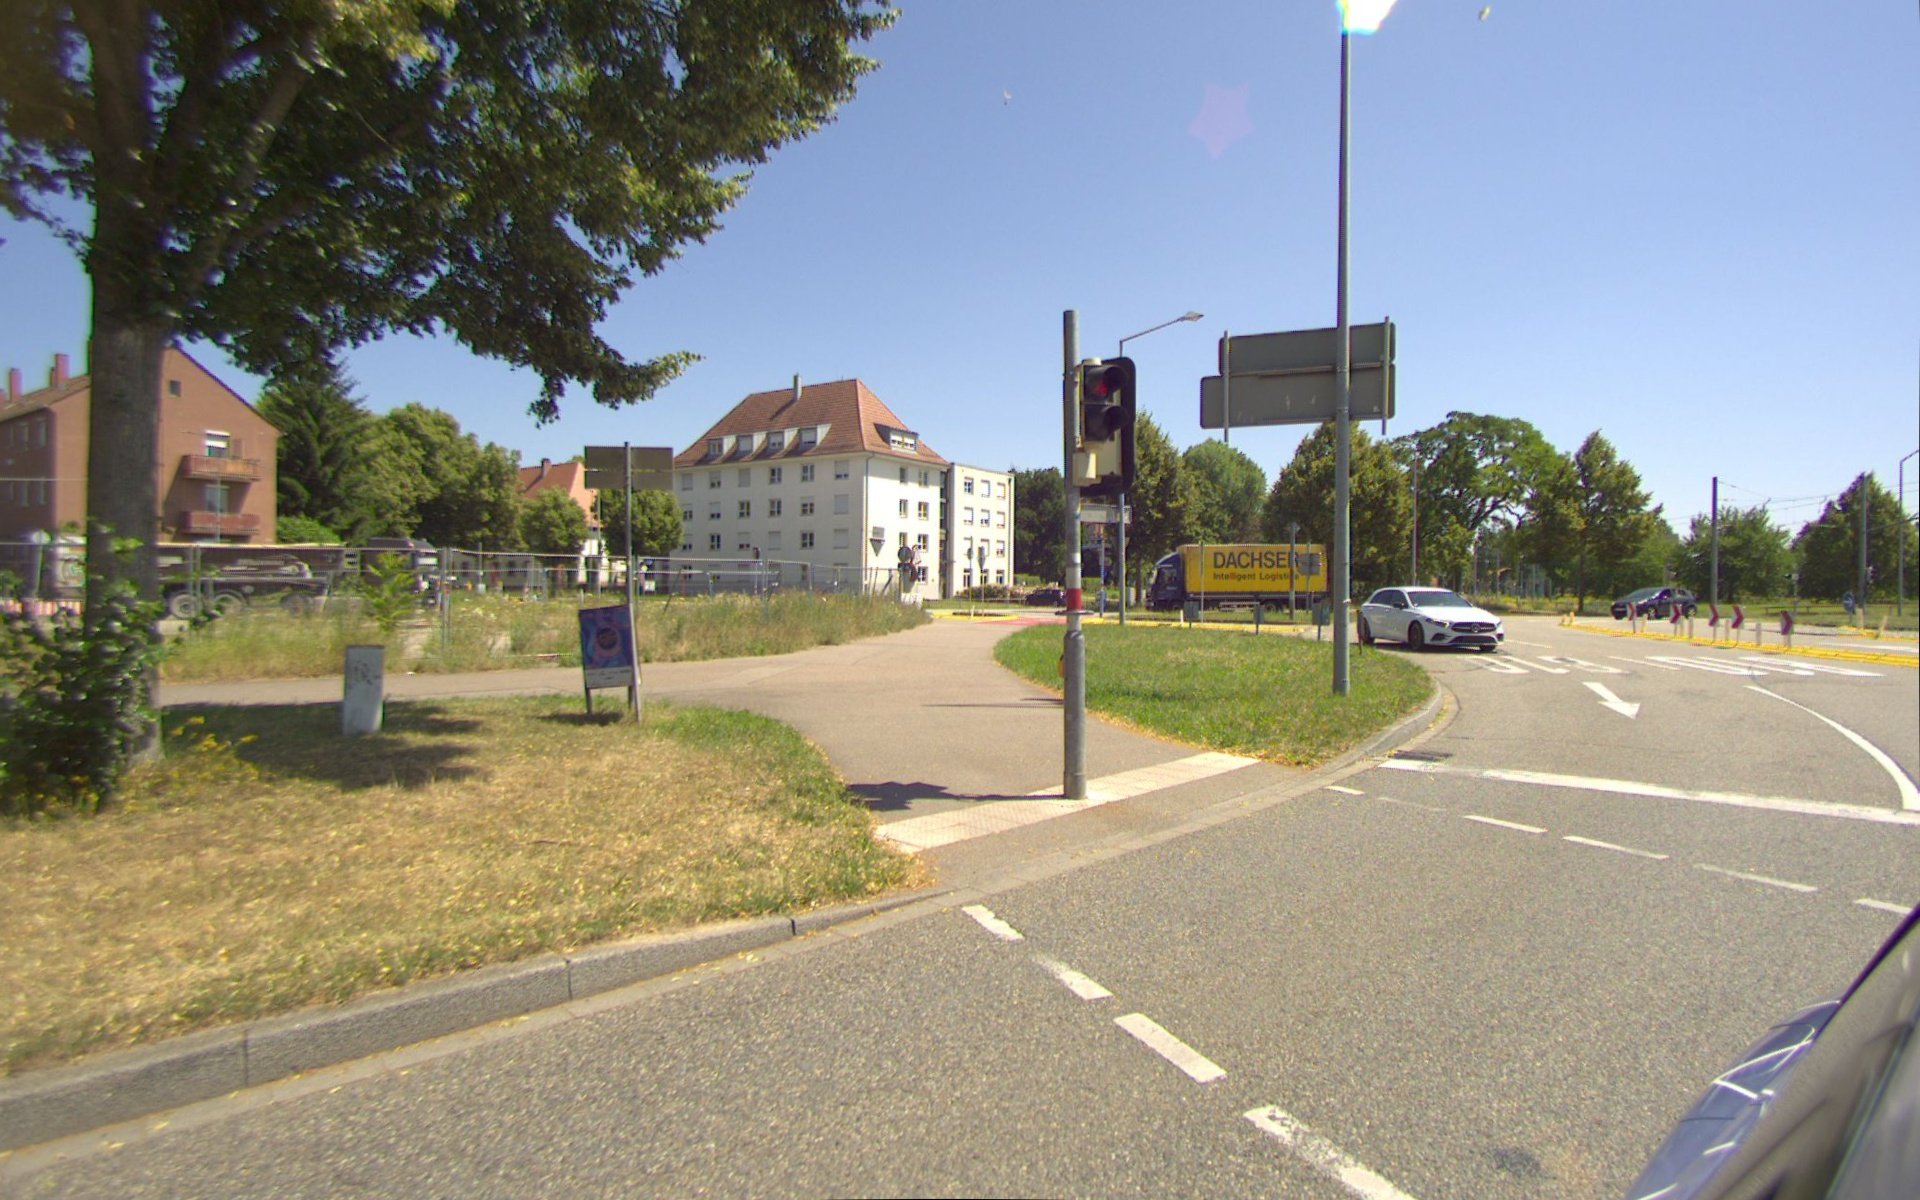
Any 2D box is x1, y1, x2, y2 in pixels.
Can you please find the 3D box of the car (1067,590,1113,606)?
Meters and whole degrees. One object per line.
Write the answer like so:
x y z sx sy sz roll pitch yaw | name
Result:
10.636 -0.177 82.736 3.492 1.233 1.339 1 1 36 | car

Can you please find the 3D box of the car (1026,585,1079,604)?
7.102 -0.440 77.621 3.784 1.343 1.638 1 1 36 | car

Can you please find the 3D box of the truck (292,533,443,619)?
-25.694 -1.029 44.111 4.864 3.577 3.169 0 1 -7 | truck

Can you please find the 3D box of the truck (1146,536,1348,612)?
14.424 -1.313 51.391 9.431 3.705 2.708 0 0 -1 | truck

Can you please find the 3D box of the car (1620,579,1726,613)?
31.579 -0.193 44.842 3.916 1.436 1.984 0 1 -21 | car

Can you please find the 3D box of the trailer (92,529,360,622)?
-30.323 -0.990 42.467 8.814 3.577 3.168 0 1 -31 | trailer

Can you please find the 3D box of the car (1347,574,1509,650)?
10.749 0.213 23.587 1.746 1.564 3.967 0 2 -3 | car

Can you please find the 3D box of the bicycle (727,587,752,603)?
-16.019 -0.361 73.400 1.977 1.036 0.699 2 4 41 | bicycle
